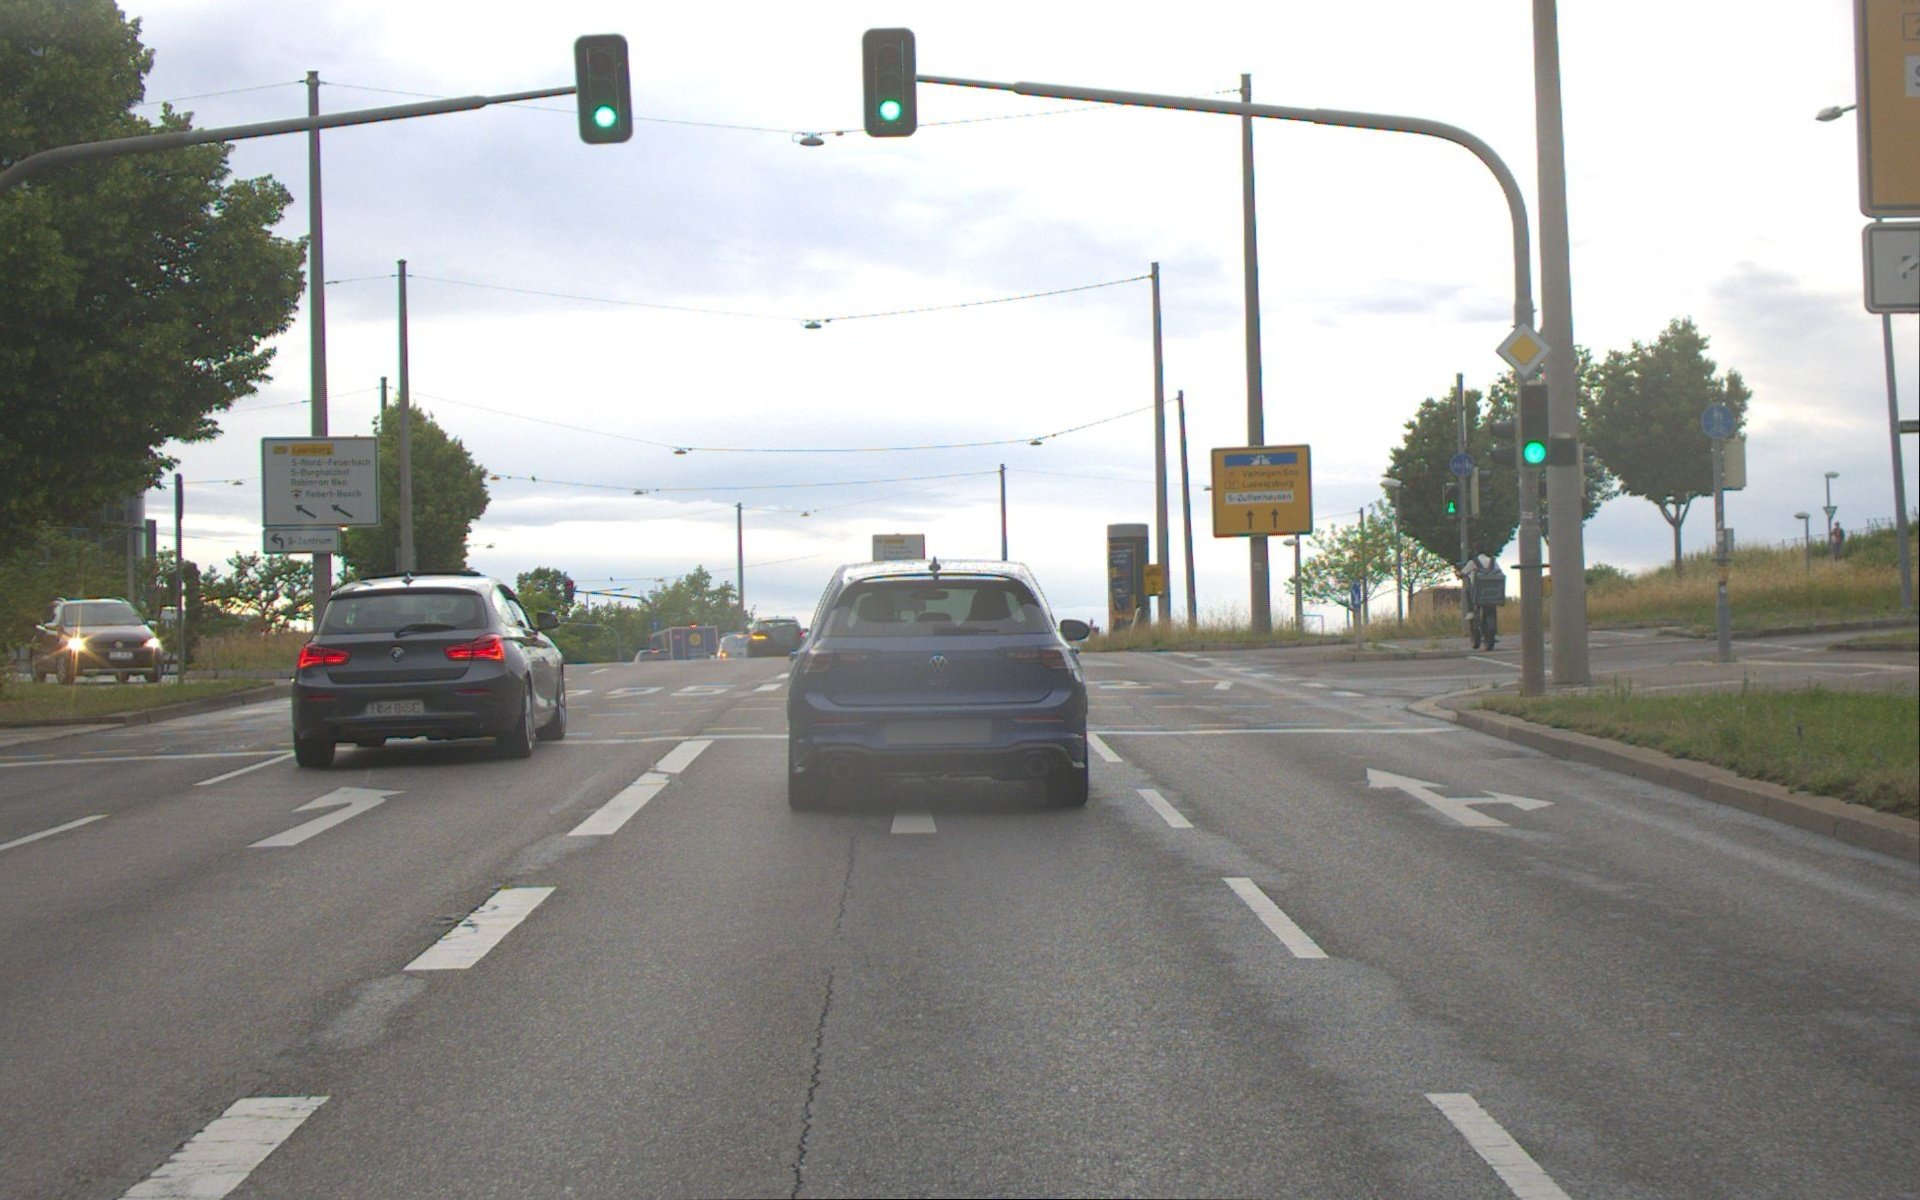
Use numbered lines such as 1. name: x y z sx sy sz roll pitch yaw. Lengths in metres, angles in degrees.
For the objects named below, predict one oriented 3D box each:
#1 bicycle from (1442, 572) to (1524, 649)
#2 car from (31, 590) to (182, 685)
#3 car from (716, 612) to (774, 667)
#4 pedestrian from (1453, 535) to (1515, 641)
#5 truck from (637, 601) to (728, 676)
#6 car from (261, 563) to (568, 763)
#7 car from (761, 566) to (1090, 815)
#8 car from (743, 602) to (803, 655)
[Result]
1. bicycle: 7.987 0.145 52.583 0.632 1.101 1.754 -4 2 -11
2. car: -14.541 0.608 58.449 1.889 1.502 4.001 -1 1 -23
3. car: -8.749 1.623 139.381 1.904 1.966 5.092 -1 -3 -8
4. pedestrian: 7.987 -0.191 52.441 0.632 1.565 0.896 -2 2 -10
5. truck: -12.626 1.782 155.815 2.665 3.209 6.550 1 -2 -18
6. car: -4.234 0.451 27.232 1.869 1.456 3.976 -1 0 -1
7. car: -0.191 0.489 21.230 1.838 1.389 4.000 0 0 0
8. car: -5.738 0.853 105.745 1.722 1.536 3.704 1 0 -2
